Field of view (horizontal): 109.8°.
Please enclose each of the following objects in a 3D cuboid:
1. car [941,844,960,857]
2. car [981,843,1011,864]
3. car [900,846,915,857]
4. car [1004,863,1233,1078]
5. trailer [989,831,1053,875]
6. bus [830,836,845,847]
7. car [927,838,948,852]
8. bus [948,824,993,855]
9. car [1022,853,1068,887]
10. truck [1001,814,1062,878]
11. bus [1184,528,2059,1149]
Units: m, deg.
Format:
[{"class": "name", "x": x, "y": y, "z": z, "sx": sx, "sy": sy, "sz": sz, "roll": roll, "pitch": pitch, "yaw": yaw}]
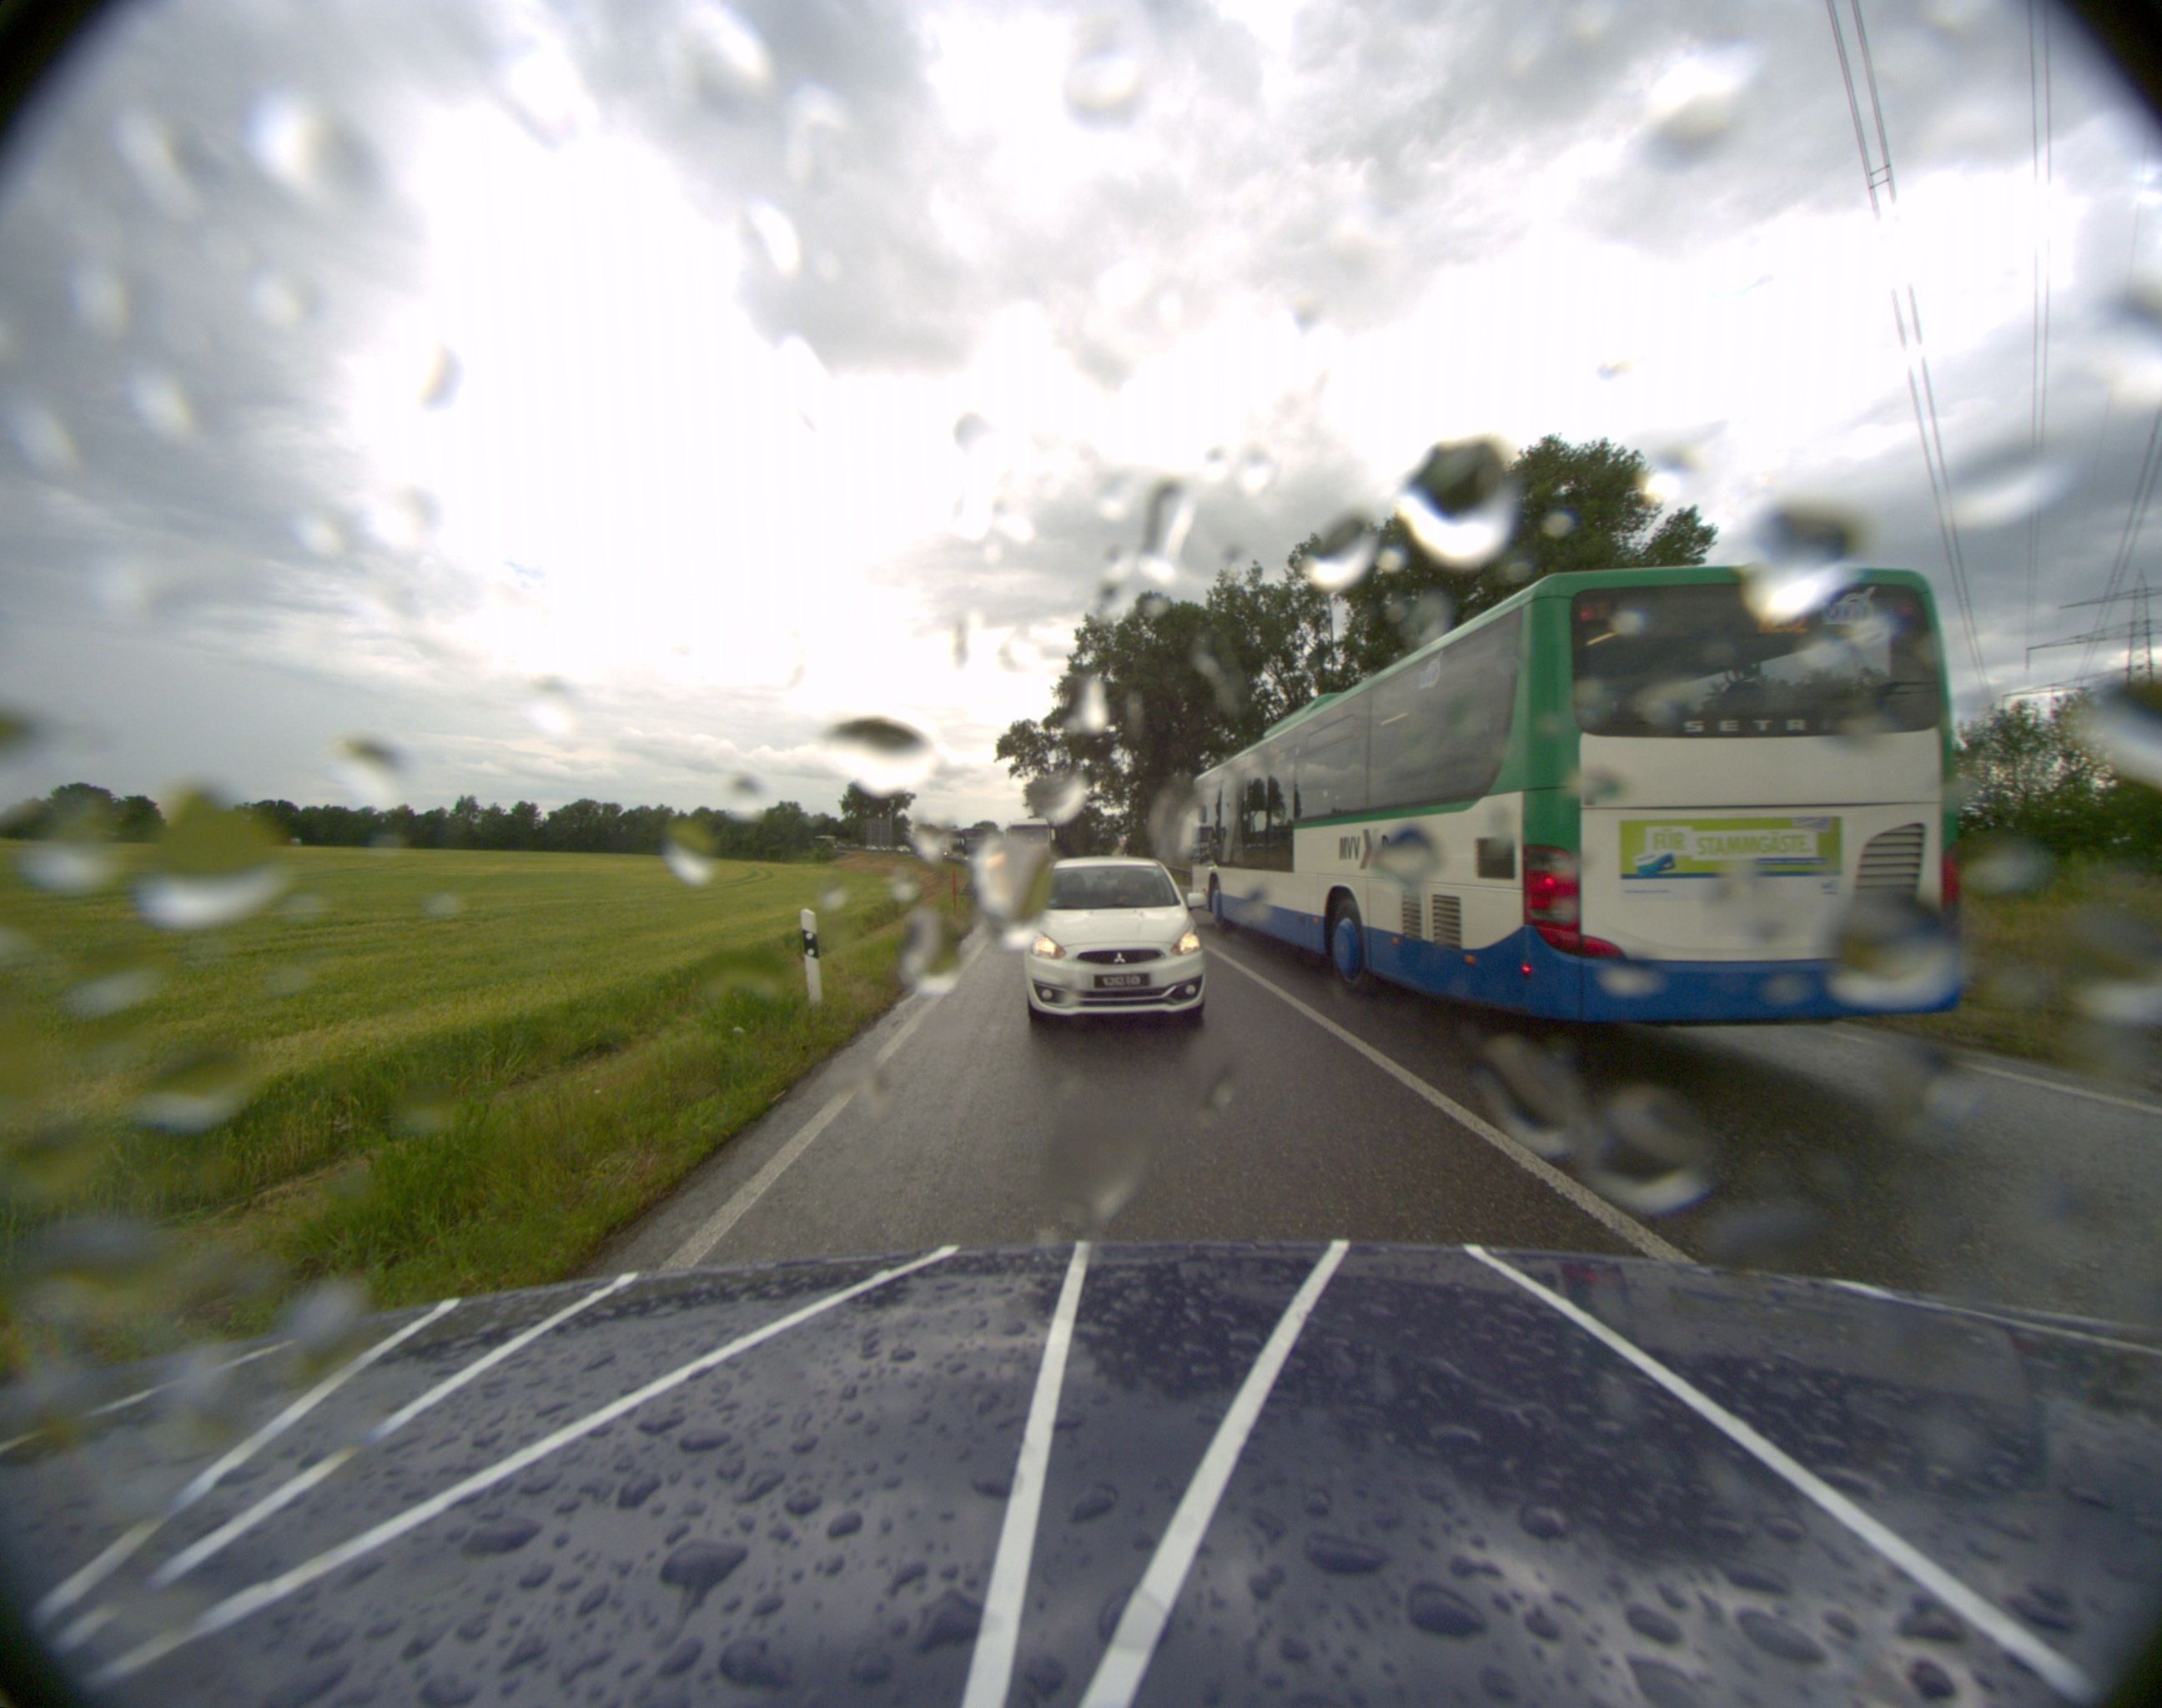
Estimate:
[{"class": "car", "x": -17.850, "y": -0.499, "z": 103.735, "sx": 1.816, "sy": 1.569, "sz": 3.993, "roll": -2, "pitch": 2, "yaw": -19}, {"class": "car", "x": -7.939, "y": -0.115, "z": 70.636, "sx": 2.044, "sy": 1.832, "sz": 5.328, "roll": -2, "pitch": 2, "yaw": -14}, {"class": "car", "x": -32.431, "y": -0.461, "z": 142.007, "sx": 2.002, "sy": 2.002, "sz": 4.223, "roll": -2, "pitch": 2, "yaw": -22}, {"class": "car", "x": 0.249, "y": 0.887, "z": 7.630, "sx": 1.653, "sy": 1.461, "sz": 4.029, "roll": -2, "pitch": 1, "yaw": -1}, {"class": "trailer", "x": -4.685, "y": -0.223, "z": 55.261, "sx": 2.986, "sy": 2.618, "sz": 15.664, "roll": -2, "pitch": 1, "yaw": -10}, {"class": "bus", "x": -67.419, "y": -3.500, "z": 209.948, "sx": 2.003, "sy": 2.899, "sz": 6.991, "roll": -3, "pitch": 2, "yaw": -34}, {"class": "car", "x": -21.981, "y": -1.321, "z": 115.919, "sx": 2.002, "sy": 2.002, "sz": 5.324, "roll": -2, "pitch": 2, "yaw": -23}, {"class": "bus", "x": -13.232, "y": -1.784, "z": 89.522, "sx": 2.968, "sy": 3.294, "sz": 14.811, "roll": -2, "pitch": 2, "yaw": -17}, {"class": "car", "x": -1.743, "y": 0.701, "z": 35.609, "sx": 1.782, "sy": 1.380, "sz": 4.324, "roll": -2, "pitch": 1, "yaw": -7}, {"class": "truck", "x": -3.185, "y": -0.538, "z": 46.828, "sx": 2.986, "sy": 3.590, "sz": 6.073, "roll": -2, "pitch": 2, "yaw": -10}, {"class": "bus", "x": 3.785, "y": -0.117, "z": 10.336, "sx": 2.765, "sy": 3.278, "sz": 12.499, "roll": -1, "pitch": 0, "yaw": -1}]
